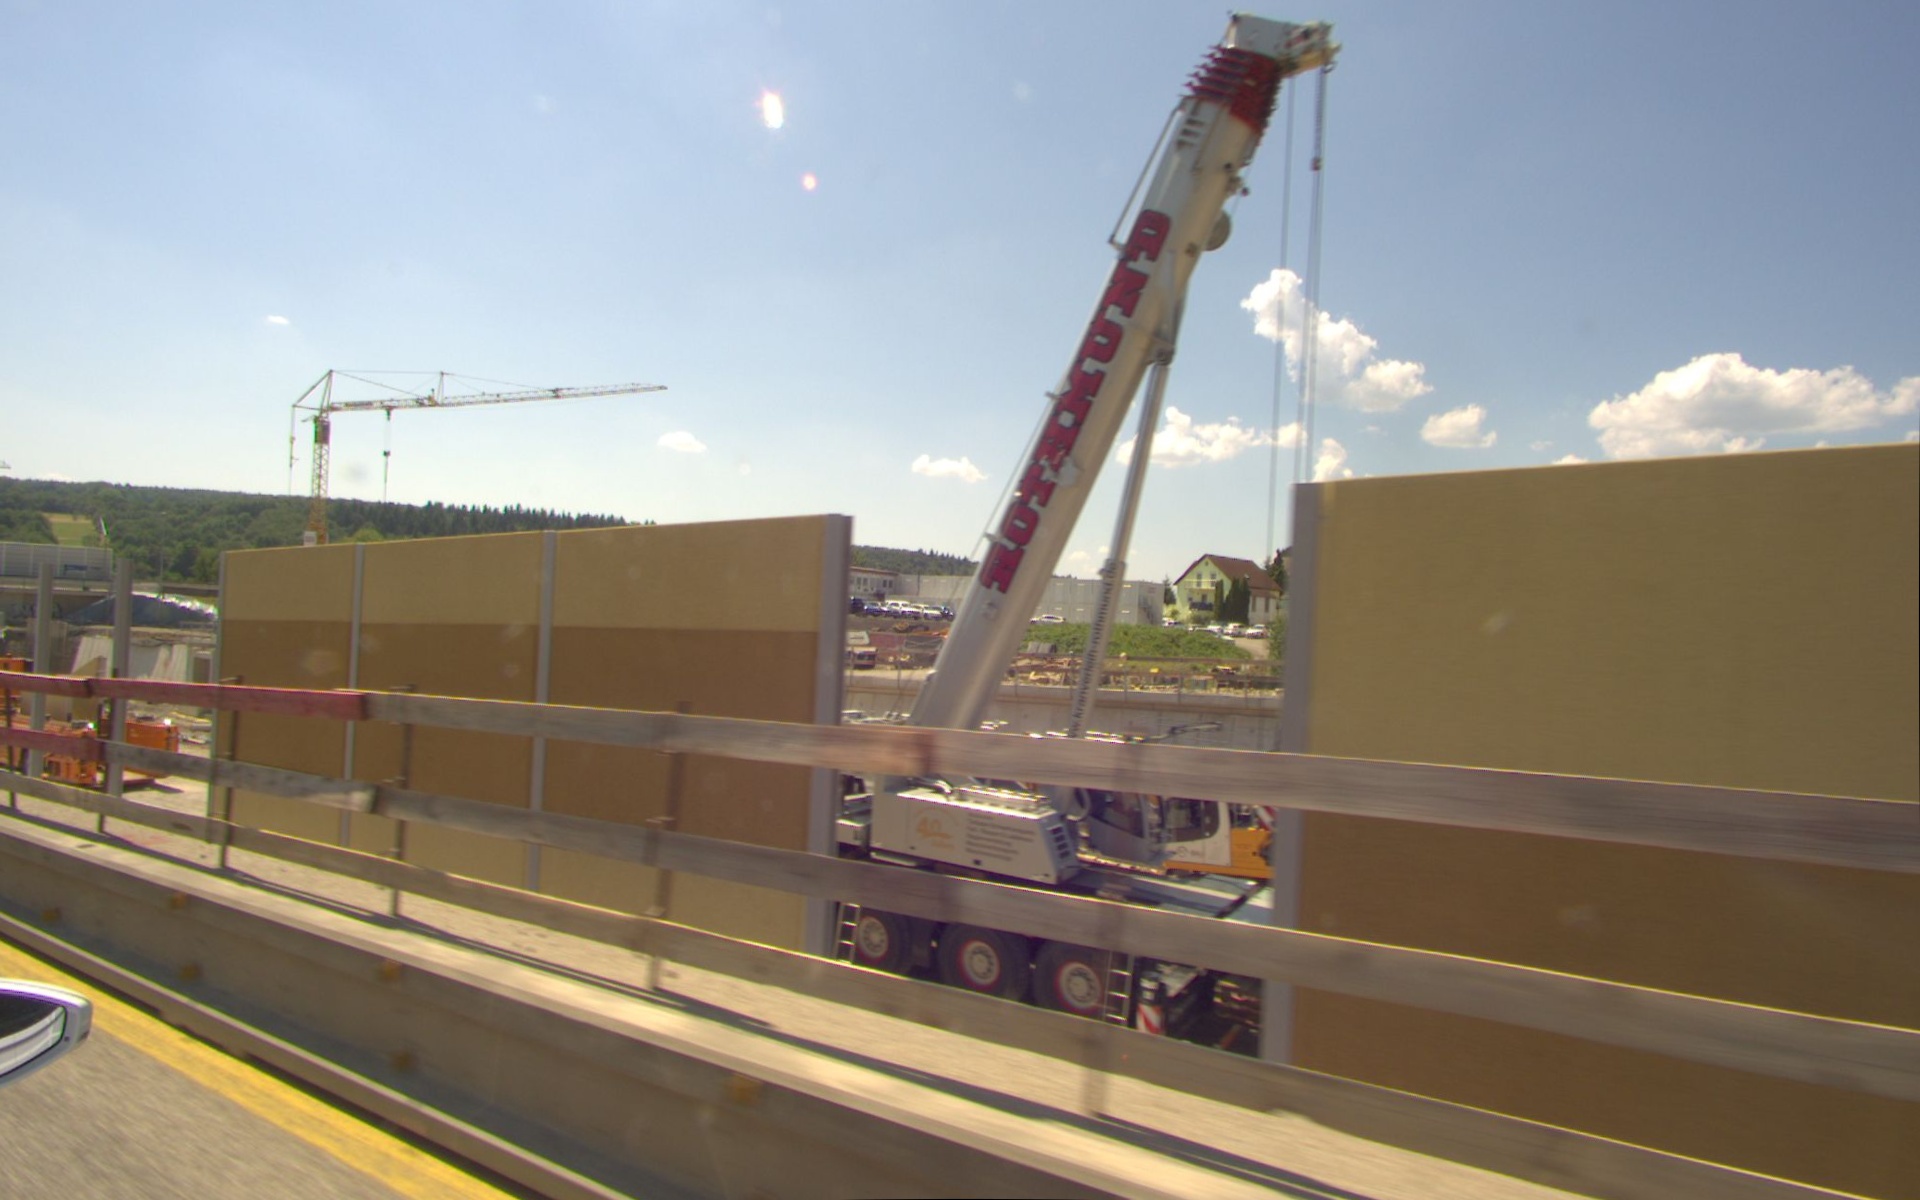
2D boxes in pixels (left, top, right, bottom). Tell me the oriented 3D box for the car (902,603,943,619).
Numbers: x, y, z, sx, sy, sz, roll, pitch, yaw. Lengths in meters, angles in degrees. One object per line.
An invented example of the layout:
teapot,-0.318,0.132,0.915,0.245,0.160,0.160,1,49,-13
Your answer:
car,-3.815,1.125,102.613,4.019,1.537,1.677,0,-2,34

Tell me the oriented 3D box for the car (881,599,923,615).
car,-5.883,0.669,100.706,4.019,1.537,1.710,0,-2,34

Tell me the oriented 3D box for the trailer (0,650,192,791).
trailer,-31.001,3.875,34.923,12.868,3.936,2.752,0,-2,34

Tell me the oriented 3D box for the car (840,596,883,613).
car,-9.538,0.446,96.955,4.019,1.537,1.677,0,-2,34

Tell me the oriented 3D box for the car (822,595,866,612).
car,-10.981,0.383,94.852,4.019,1.537,1.677,0,-2,34

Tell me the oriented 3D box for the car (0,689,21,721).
car,-59.018,6.244,59.238,1.972,1.796,4.720,2,-2,34

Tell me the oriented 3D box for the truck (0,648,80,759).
truck,-37.121,3.919,39.066,5.800,3.936,2.753,0,-1,34

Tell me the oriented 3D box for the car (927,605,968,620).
car,-1.304,1.297,104.091,4.019,1.537,1.677,0,-2,34

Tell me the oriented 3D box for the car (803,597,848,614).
car,-12.512,0.505,92.873,4.019,1.537,1.677,0,-2,34

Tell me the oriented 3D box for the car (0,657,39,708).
car,-54.307,4.469,54.117,2.486,2.617,6.096,2,-2,23

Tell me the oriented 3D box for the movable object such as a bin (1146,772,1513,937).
movable object such as a bin,8.750,5.822,24.083,7.784,2.476,3.159,-1,-4,33

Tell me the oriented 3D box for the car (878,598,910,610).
car,-7.520,0.442,114.197,3.382,1.297,1.511,0,-2,34

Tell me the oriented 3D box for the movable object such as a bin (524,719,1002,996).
movable object such as a bin,-3.907,4.266,18.599,9.019,3.530,2.963,-1,-3,31

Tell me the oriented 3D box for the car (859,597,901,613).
car,-7.903,0.500,98.879,4.019,1.537,1.704,0,-2,34
